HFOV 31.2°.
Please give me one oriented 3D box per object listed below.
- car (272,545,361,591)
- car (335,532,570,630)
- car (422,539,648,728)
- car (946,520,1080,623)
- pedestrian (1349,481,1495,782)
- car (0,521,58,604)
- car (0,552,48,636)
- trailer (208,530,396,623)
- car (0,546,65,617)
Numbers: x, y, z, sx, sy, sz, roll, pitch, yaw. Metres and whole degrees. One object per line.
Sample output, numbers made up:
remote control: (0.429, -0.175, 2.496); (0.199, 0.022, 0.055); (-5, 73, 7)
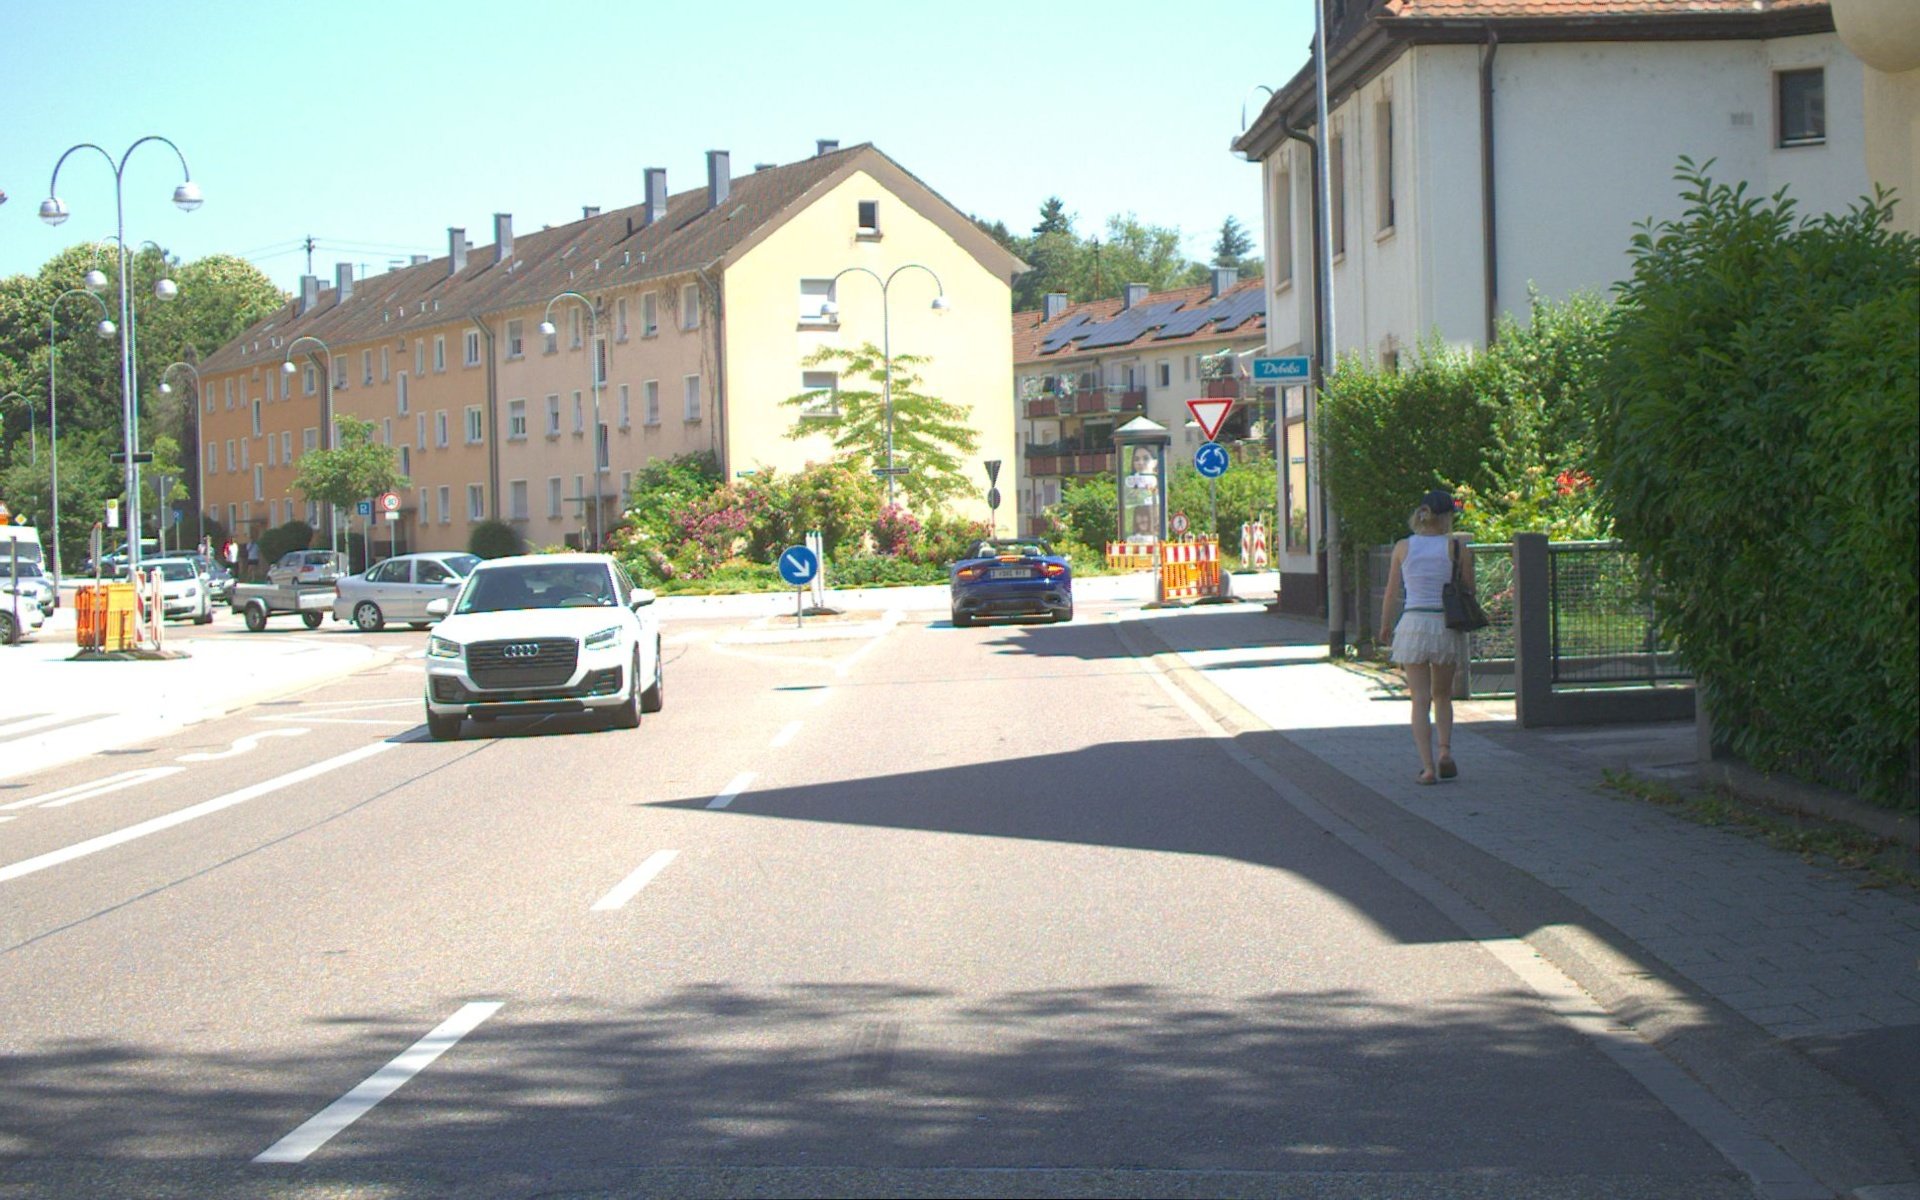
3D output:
car: (-21.681, -1.061, 115.703); (1.812, 1.495, 4.000); (0, 0, -28)
car: (-9.343, -0.355, 63.186); (4.123, 1.741, 1.784); (0, 0, 33)
car: (-3.699, 0.299, 30.456); (1.820, 1.525, 3.951); (-1, -1, -5)
car: (0.800, -0.423, 54.704); (1.870, 1.525, 4.507); (-1, -1, -2)
pedestrian: (2.591, 0.172, 19.324); (0.623, 1.638, 0.772); (-2, 0, -3)
car: (-29.721, -1.145, 106.916); (2.144, 2.524, 6.239); (0, 0, -25)
car: (-19.273, -0.117, 64.420); (4.114, 1.545, 1.788); (0, 0, -11)
trailer: (-12.464, -0.452, 65.124); (3.193, 1.711, 1.753); (0, 0, 34)
car: (-23.496, -0.464, 85.325); (1.775, 1.680, 4.695); (-2, 1, -23)
